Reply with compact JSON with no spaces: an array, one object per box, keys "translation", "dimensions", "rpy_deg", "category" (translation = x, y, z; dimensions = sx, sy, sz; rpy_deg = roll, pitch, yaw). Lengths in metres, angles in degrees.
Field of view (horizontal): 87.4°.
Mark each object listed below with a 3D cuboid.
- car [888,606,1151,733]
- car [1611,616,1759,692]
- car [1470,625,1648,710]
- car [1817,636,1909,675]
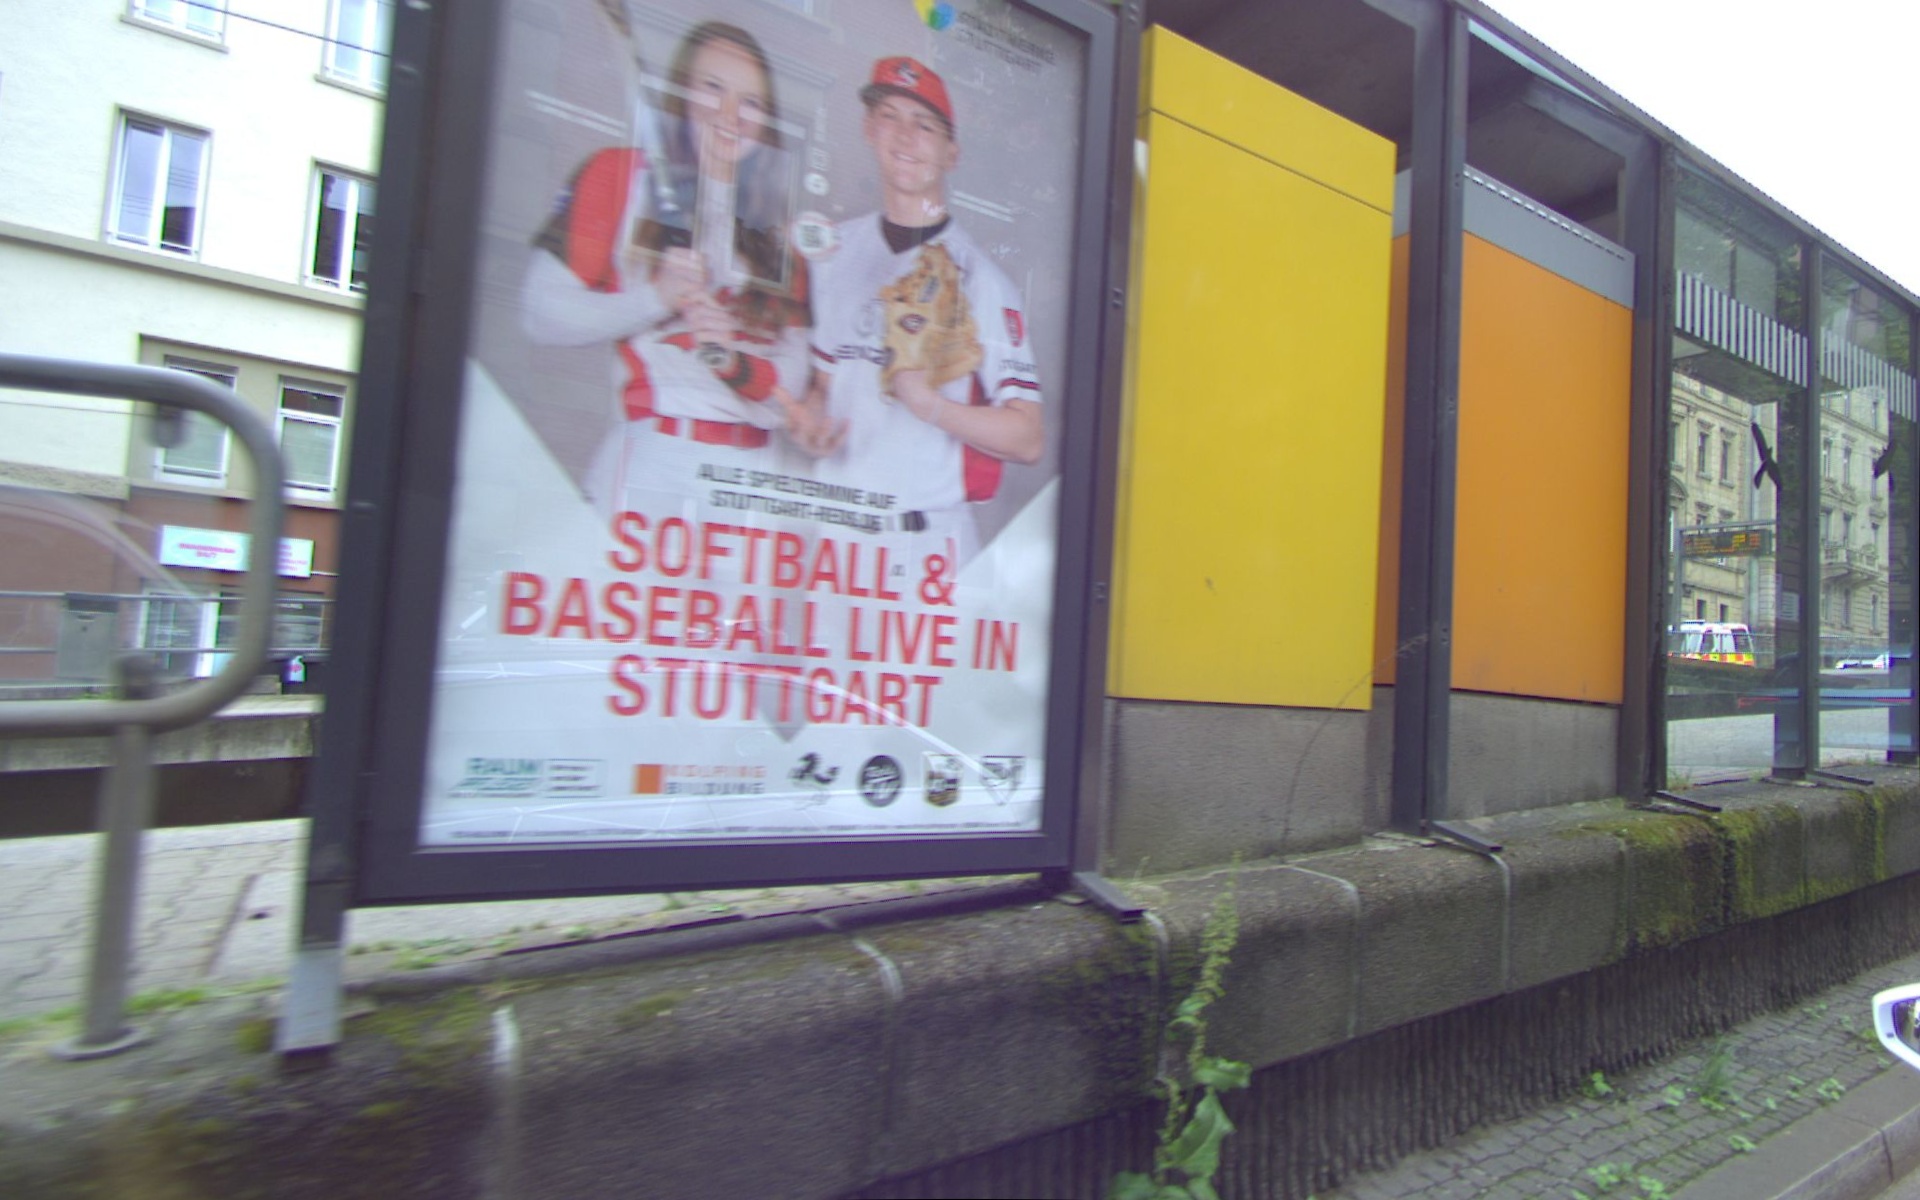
[{"translation":[0.979,1.045,15.916],"dimensions":[3.821,1.788,1.813],"rpy_deg":[2,-2,-32],"category":"car"},{"translation":[23.974,1.770,33.160],"dimensions":[5.392,2.335,1.984],"rpy_deg":[2,-2,-31],"category":"car"},{"translation":[14.665,1.602,24.553],"dimensions":[4.366,1.919,1.983],"rpy_deg":[2,-2,-32],"category":"car"},{"translation":[37.500,2.284,41.697],"dimensions":[4.214,1.490,1.758],"rpy_deg":[2,-1,-32],"category":"car"}]
